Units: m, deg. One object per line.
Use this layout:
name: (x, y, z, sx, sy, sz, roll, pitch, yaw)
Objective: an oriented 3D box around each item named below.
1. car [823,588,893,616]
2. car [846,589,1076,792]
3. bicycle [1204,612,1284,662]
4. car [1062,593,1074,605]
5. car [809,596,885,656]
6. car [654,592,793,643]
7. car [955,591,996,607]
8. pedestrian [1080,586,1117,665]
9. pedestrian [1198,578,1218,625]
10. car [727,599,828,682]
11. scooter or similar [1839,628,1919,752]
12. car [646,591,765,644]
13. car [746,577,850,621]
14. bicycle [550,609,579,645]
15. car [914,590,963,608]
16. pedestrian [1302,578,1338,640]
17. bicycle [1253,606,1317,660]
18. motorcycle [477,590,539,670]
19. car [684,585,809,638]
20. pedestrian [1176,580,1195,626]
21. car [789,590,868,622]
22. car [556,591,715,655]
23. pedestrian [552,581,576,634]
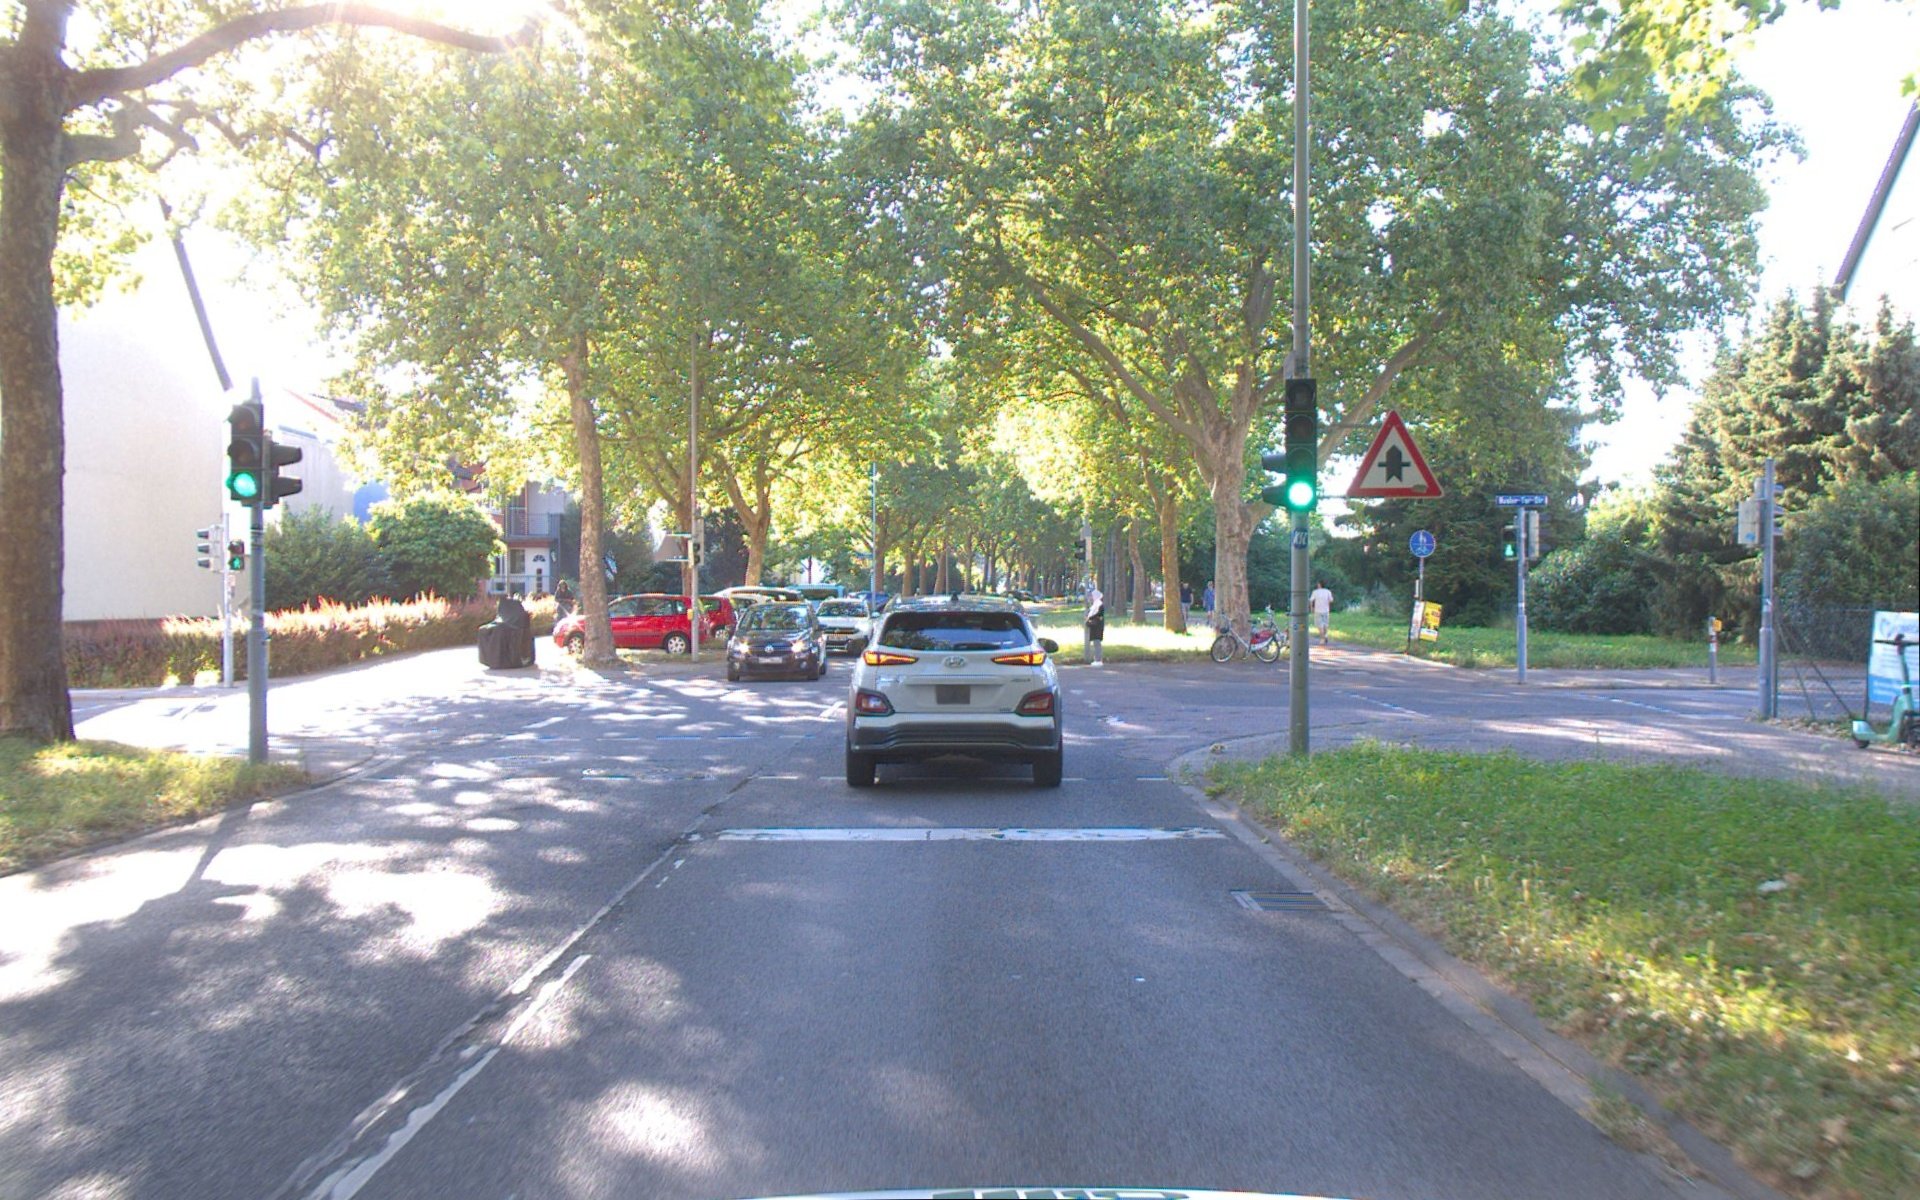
car: (-5.893, 0.112, 95.554, 3.906, 1.545, 1.817, 1, 0, 0)
car: (-0.035, 0.712, 14.960, 1.798, 1.583, 3.999, 0, 0, -1)
bicycle: (6.171, 0.796, 35.970, 1.686, 1.053, 0.445, 0, 3, 36)
car: (14.366, -0.115, 220.029, 1.653, 1.490, 3.696, 1, 0, 3)
car: (-3.016, 0.676, 44.775, 1.681, 1.527, 4.095, 0, 0, 1)
car: (-7.369, 0.542, 51.816, 4.077, 1.527, 1.875, 1, 0, -1)
car: (1.625, -0.102, 171.201, 4.096, 1.612, 2.001, 1, 0, 3)
pedestrian: (3.145, 0.560, 37.515, 0.622, 1.749, 0.825, -2, 0, -7)
pedestrian: (10.031, 0.068, 67.047, 0.738, 1.880, 0.803, 0, 0, 4)
car: (-3.510, 0.739, 32.321, 1.691, 1.489, 4.066, -1, 0, -3)
scooter or similar: (9.795, 0.927, 17.420, 0.374, 1.217, 1.255, 1, 1, -1)
car: (-7.592, 0.507, 49.576, 3.271, 1.506, 1.695, 1, 0, -1)
car: (-6.979, -0.055, 71.730, 4.296, 1.856, 1.995, 1, 0, 0)
bicycle: (-11.865, 0.795, 49.676, 0.499, 1.060, 2.151, -1, -1, -4)
car: (-1.716, -0.067, 133.526, 3.745, 1.339, 1.791, 2, 0, 4)
pedestrian: (10.000, 0.239, 45.968, 0.763, 1.678, 0.939, -1, 0, 0)
bicycle: (7.225, 0.725, 36.860, 0.438, 1.101, 1.997, -2, 2, -19)
motorcycle: (-10.168, 0.651, 37.290, 0.961, 1.666, 2.387, -1, 2, -7)
car: (-7.292, 0.384, 56.744, 4.007, 1.746, 1.832, 0, 0, 1)
pedestrian: (9.145, 0.114, 67.115, 0.745, 1.878, 0.788, 0, 0, 4)
car: (-6.493, 0.288, 82.021, 3.792, 1.545, 1.665, -1, 0, 0)
car: (-8.183, 0.558, 41.981, 3.688, 1.561, 1.831, 0, 0, -2)
pedestrian: (-11.872, 0.232, 49.623, 0.499, 1.558, 1.033, -1, -1, -3)
